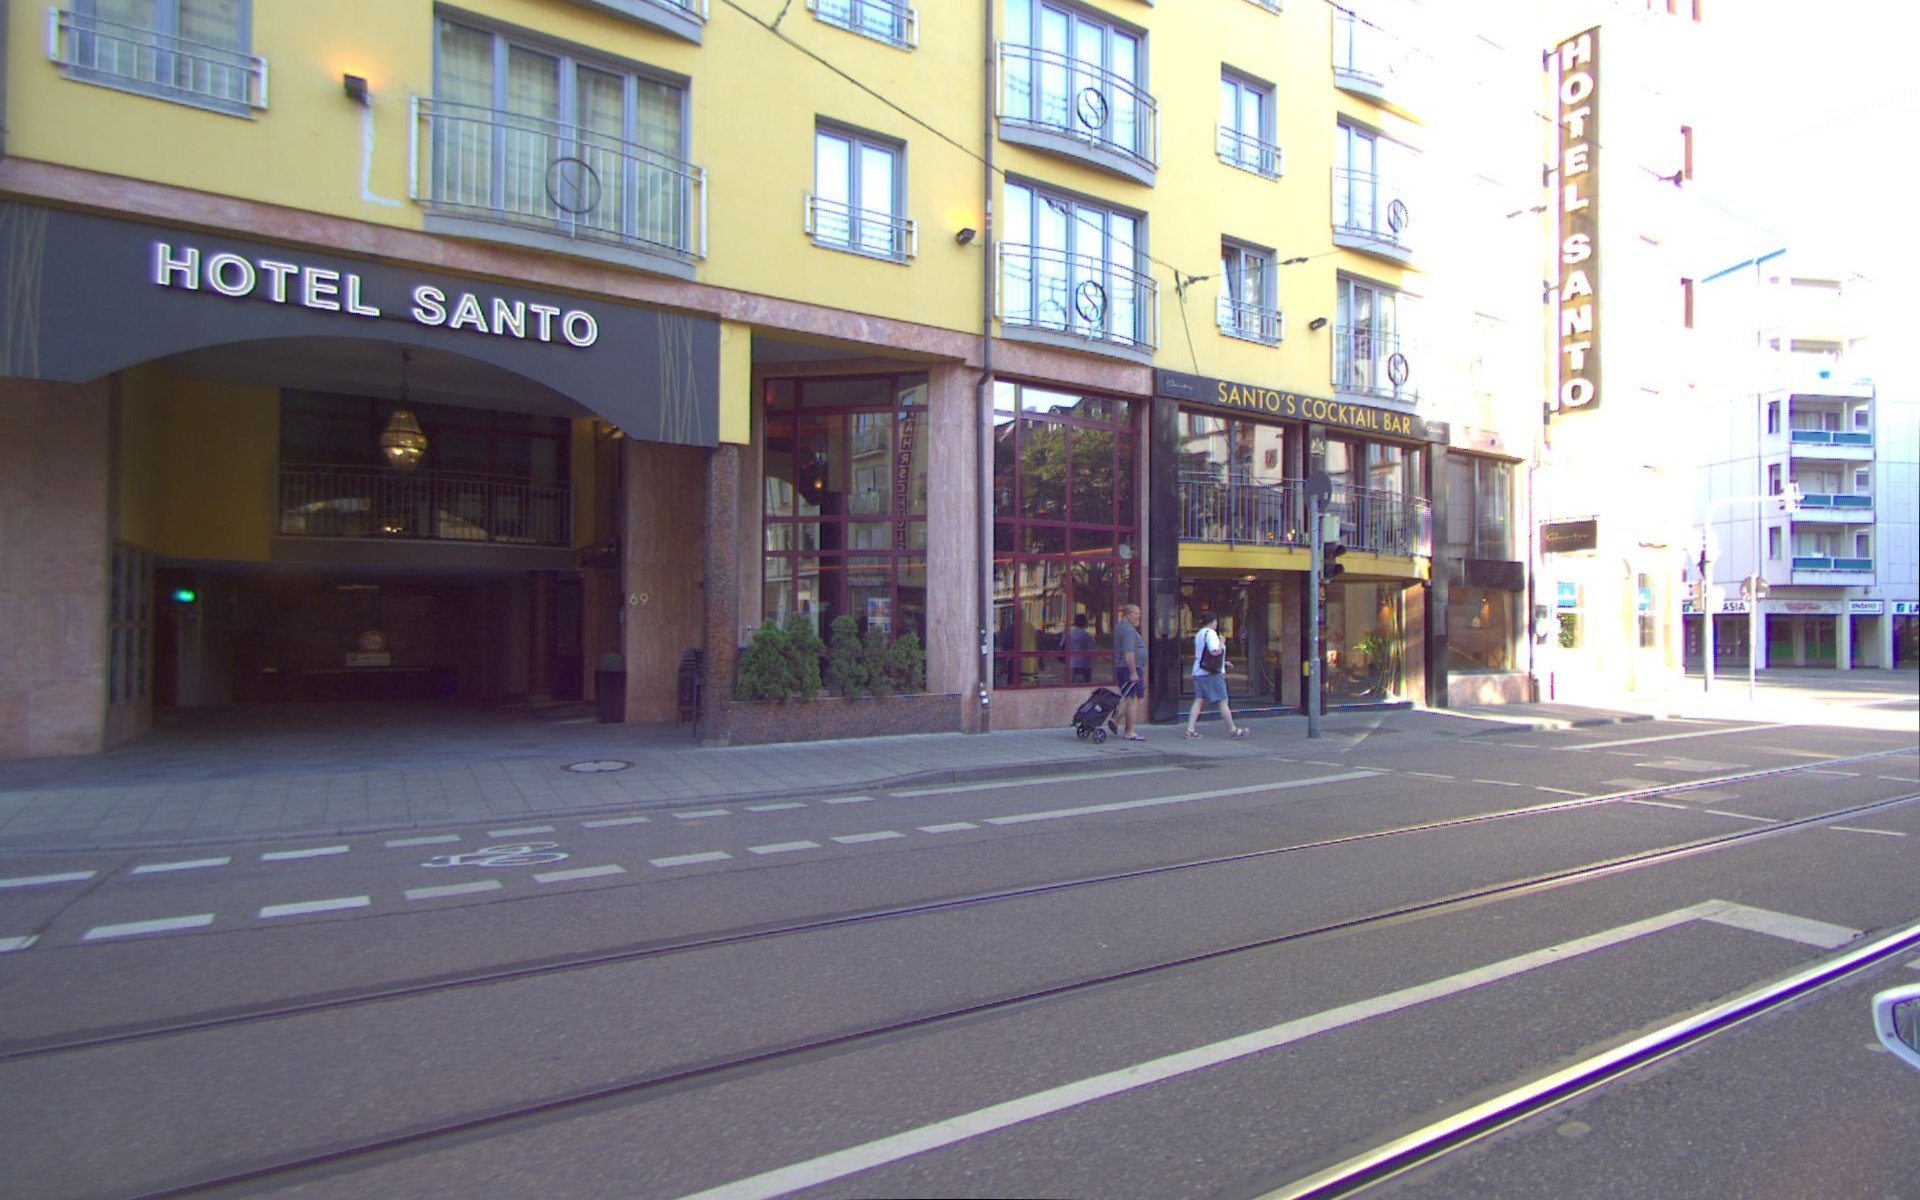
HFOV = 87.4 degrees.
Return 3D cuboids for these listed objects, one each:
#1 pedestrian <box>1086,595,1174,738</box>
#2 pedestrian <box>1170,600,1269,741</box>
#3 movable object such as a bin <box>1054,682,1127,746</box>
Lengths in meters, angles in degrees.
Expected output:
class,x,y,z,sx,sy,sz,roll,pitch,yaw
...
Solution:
class,x,y,z,sx,sy,sz,roll,pitch,yaw
pedestrian,2.258,0.855,13.396,0.741,1.795,0.793,1,3,-31
pedestrian,3.608,0.948,13.969,1.034,1.843,0.747,1,3,-31
movable object such as a bin,1.664,1.436,12.779,0.831,0.726,0.381,1,3,-30
